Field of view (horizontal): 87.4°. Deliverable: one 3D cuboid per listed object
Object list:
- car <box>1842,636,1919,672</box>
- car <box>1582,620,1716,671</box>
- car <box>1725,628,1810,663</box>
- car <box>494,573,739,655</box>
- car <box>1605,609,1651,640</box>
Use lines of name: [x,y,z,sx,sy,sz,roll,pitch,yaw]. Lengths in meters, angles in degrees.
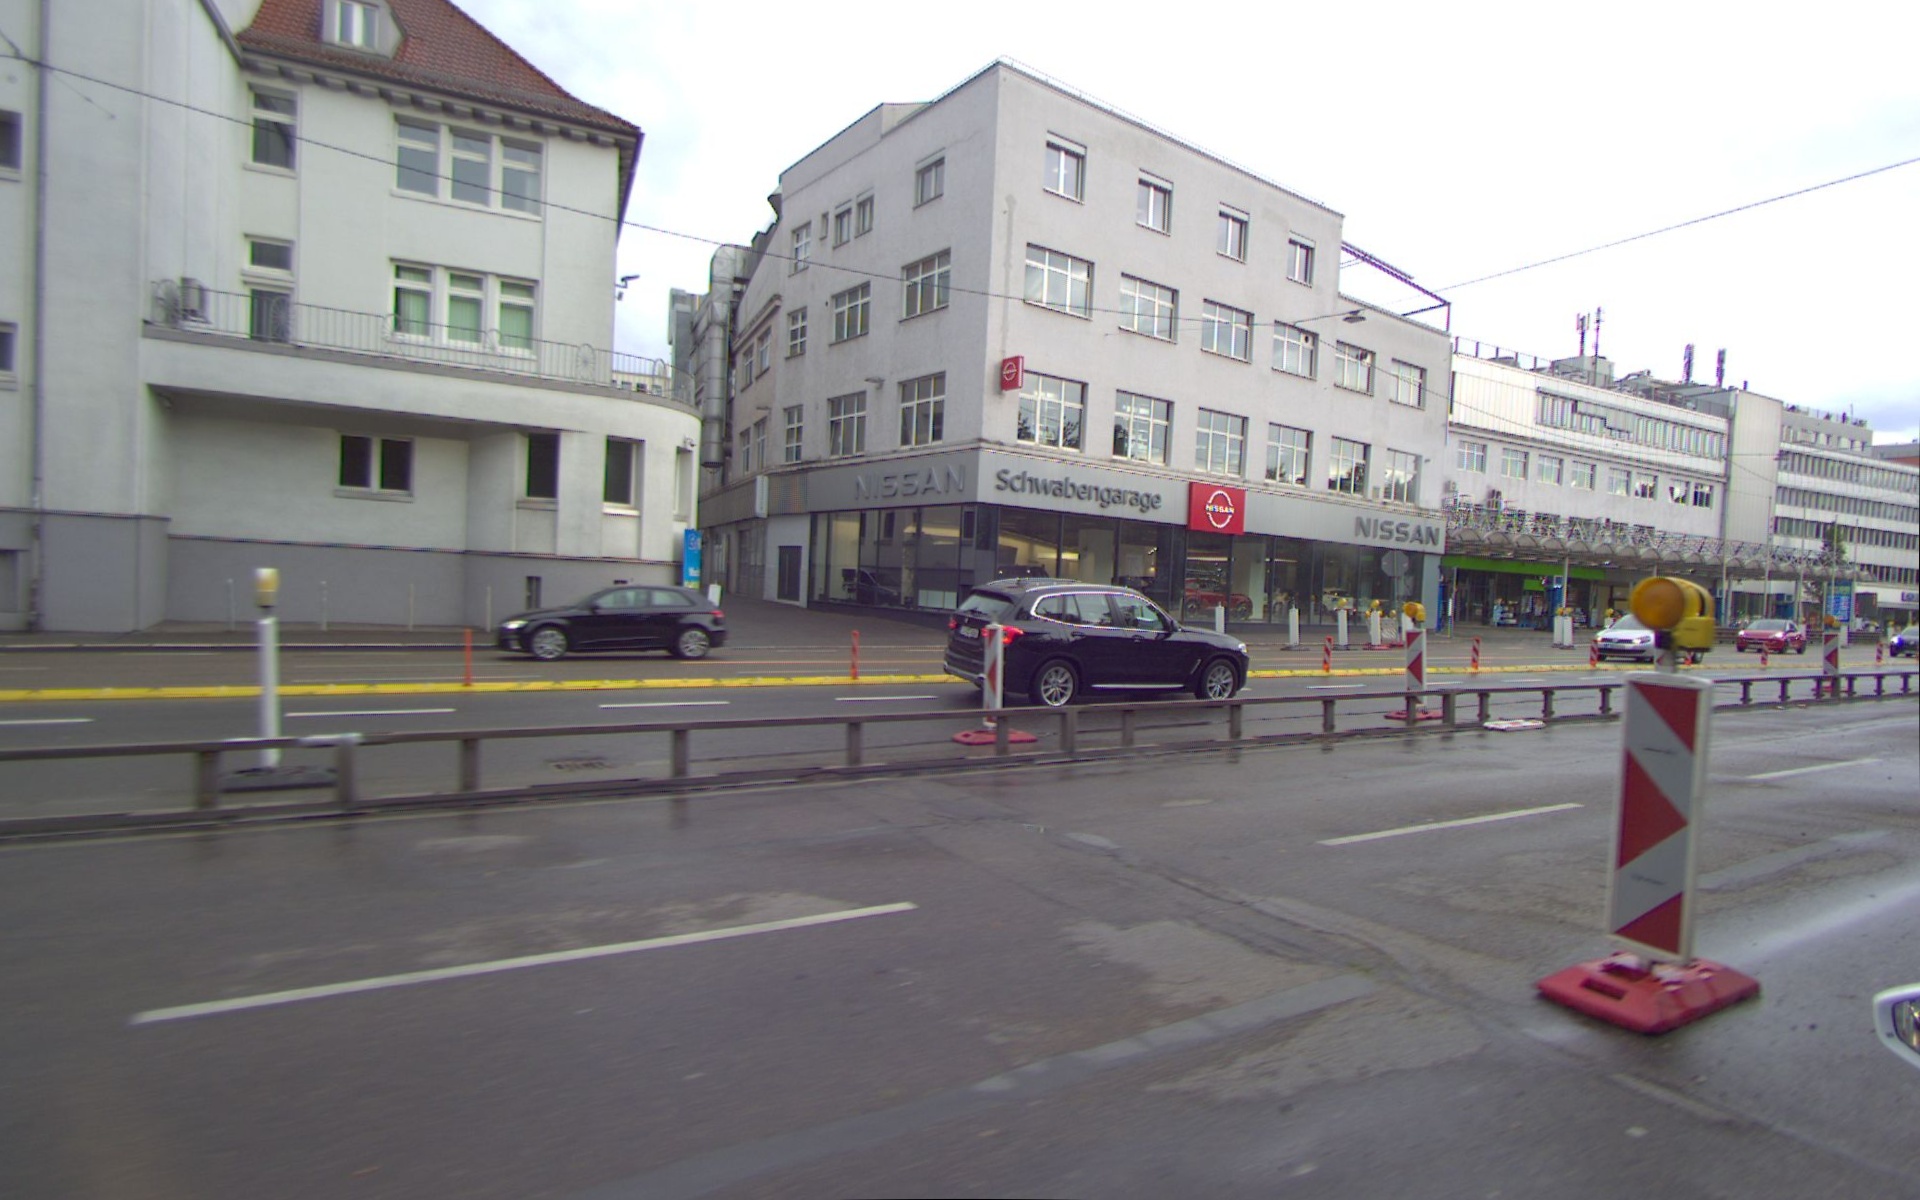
car: [40.031,2.309,43.583,3.960,1.400,1.768,1,0,-35]
car: [20.806,1.343,30.286,4.407,1.400,1.769,1,0,-33]
car: [35.744,1.989,44.435,3.957,1.400,1.769,1,0,-33]
car: [-6.534,0.287,19.169,4.198,1.424,1.755,2,0,-28]
car: [41.419,1.487,62.347,1.772,1.677,3.995,4,2,26]
